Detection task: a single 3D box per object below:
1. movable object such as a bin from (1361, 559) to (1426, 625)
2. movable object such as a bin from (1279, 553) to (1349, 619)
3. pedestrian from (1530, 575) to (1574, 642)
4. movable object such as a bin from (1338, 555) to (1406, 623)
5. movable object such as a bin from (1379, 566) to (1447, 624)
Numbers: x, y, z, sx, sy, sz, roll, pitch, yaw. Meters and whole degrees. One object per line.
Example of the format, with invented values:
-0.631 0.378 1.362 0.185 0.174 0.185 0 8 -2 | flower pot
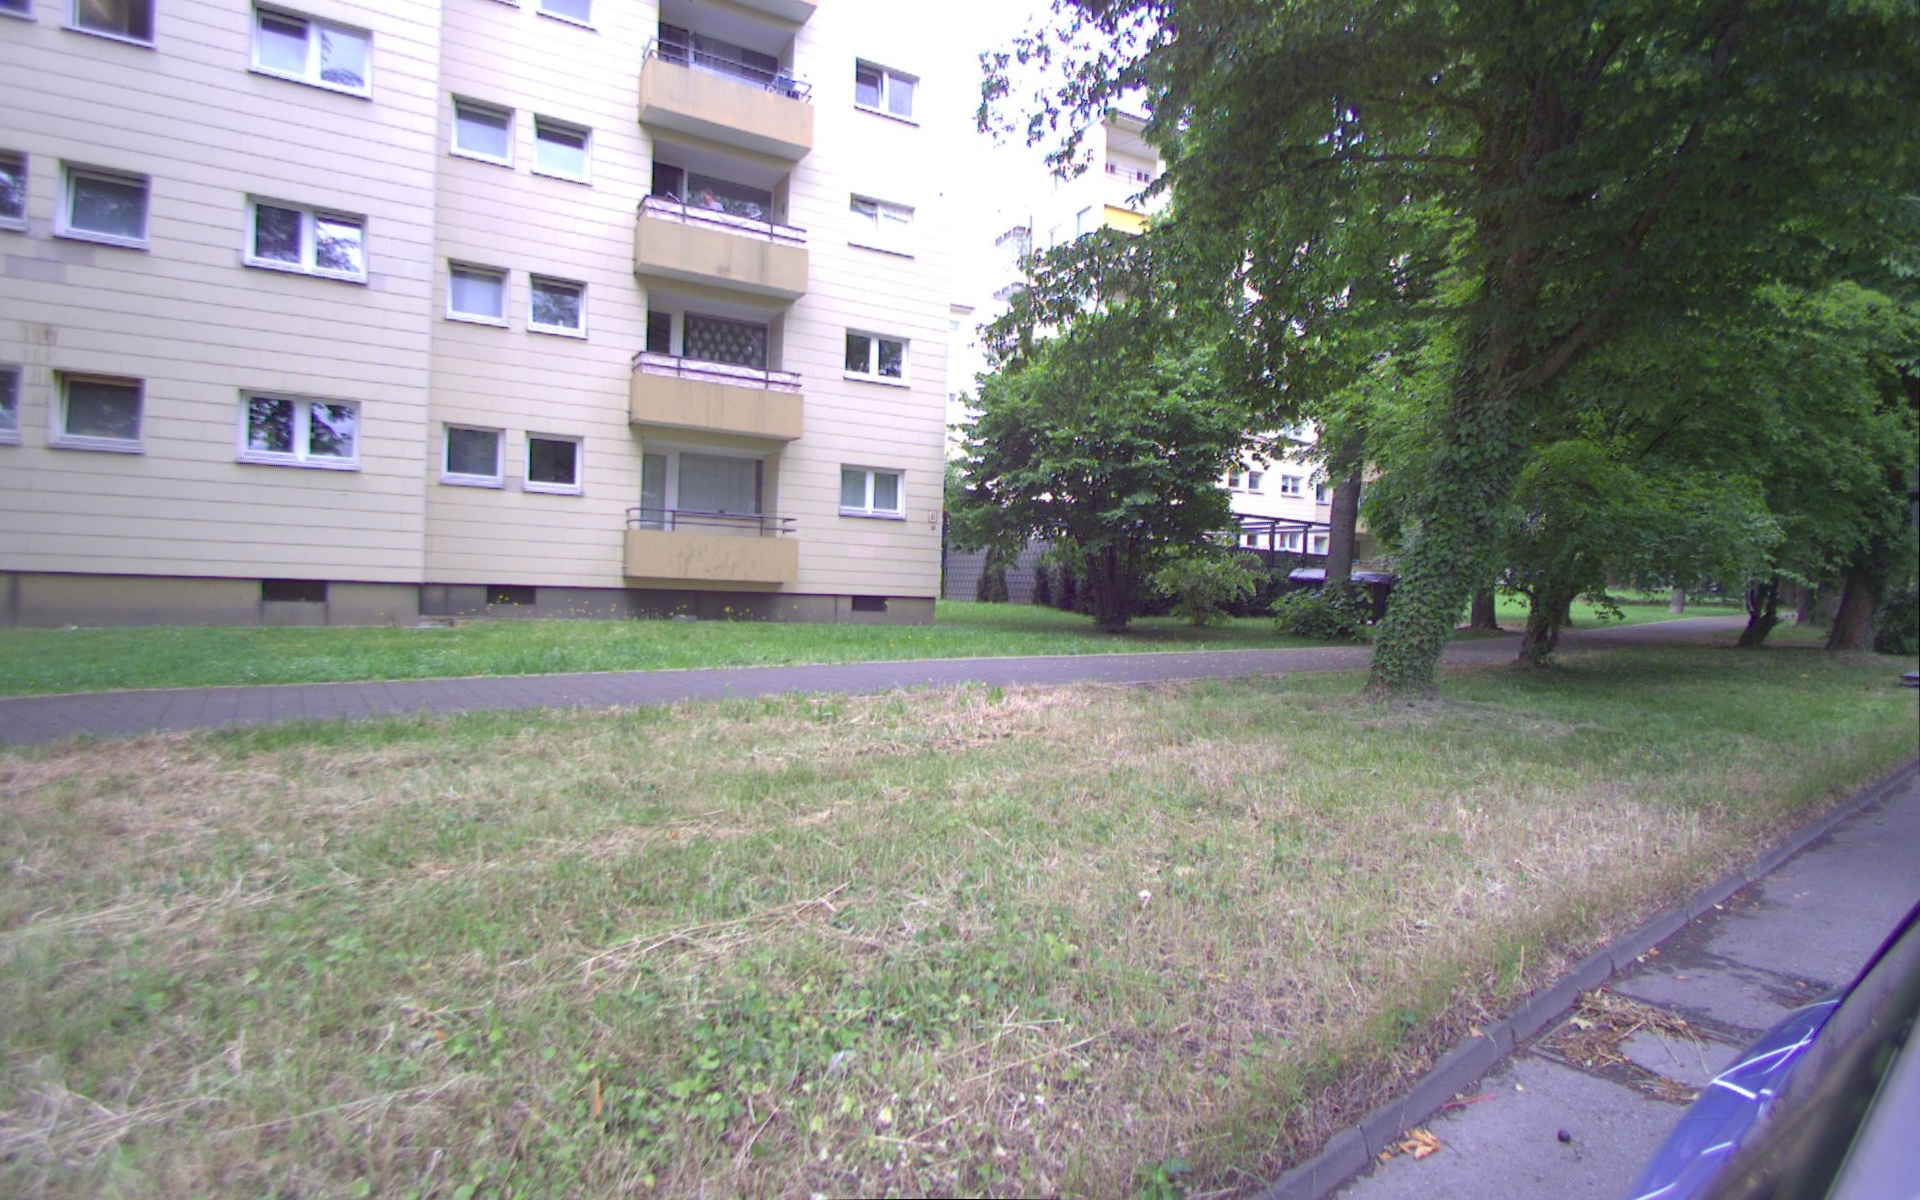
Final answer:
11.559 -0.241 27.002 1.058 1.662 1.238 -1 4 -44 | movable object such as a bin
9.532 -0.399 27.266 1.004 1.662 1.433 -1 4 -44 | movable object such as a bin
12.650 0.165 21.620 0.687 1.398 0.597 2 2 42 | pedestrian
10.610 -0.299 26.098 1.004 1.662 1.276 -1 4 -44 | movable object such as a bin
12.446 -0.172 27.803 1.182 1.492 1.326 -1 4 -44 | movable object such as a bin
